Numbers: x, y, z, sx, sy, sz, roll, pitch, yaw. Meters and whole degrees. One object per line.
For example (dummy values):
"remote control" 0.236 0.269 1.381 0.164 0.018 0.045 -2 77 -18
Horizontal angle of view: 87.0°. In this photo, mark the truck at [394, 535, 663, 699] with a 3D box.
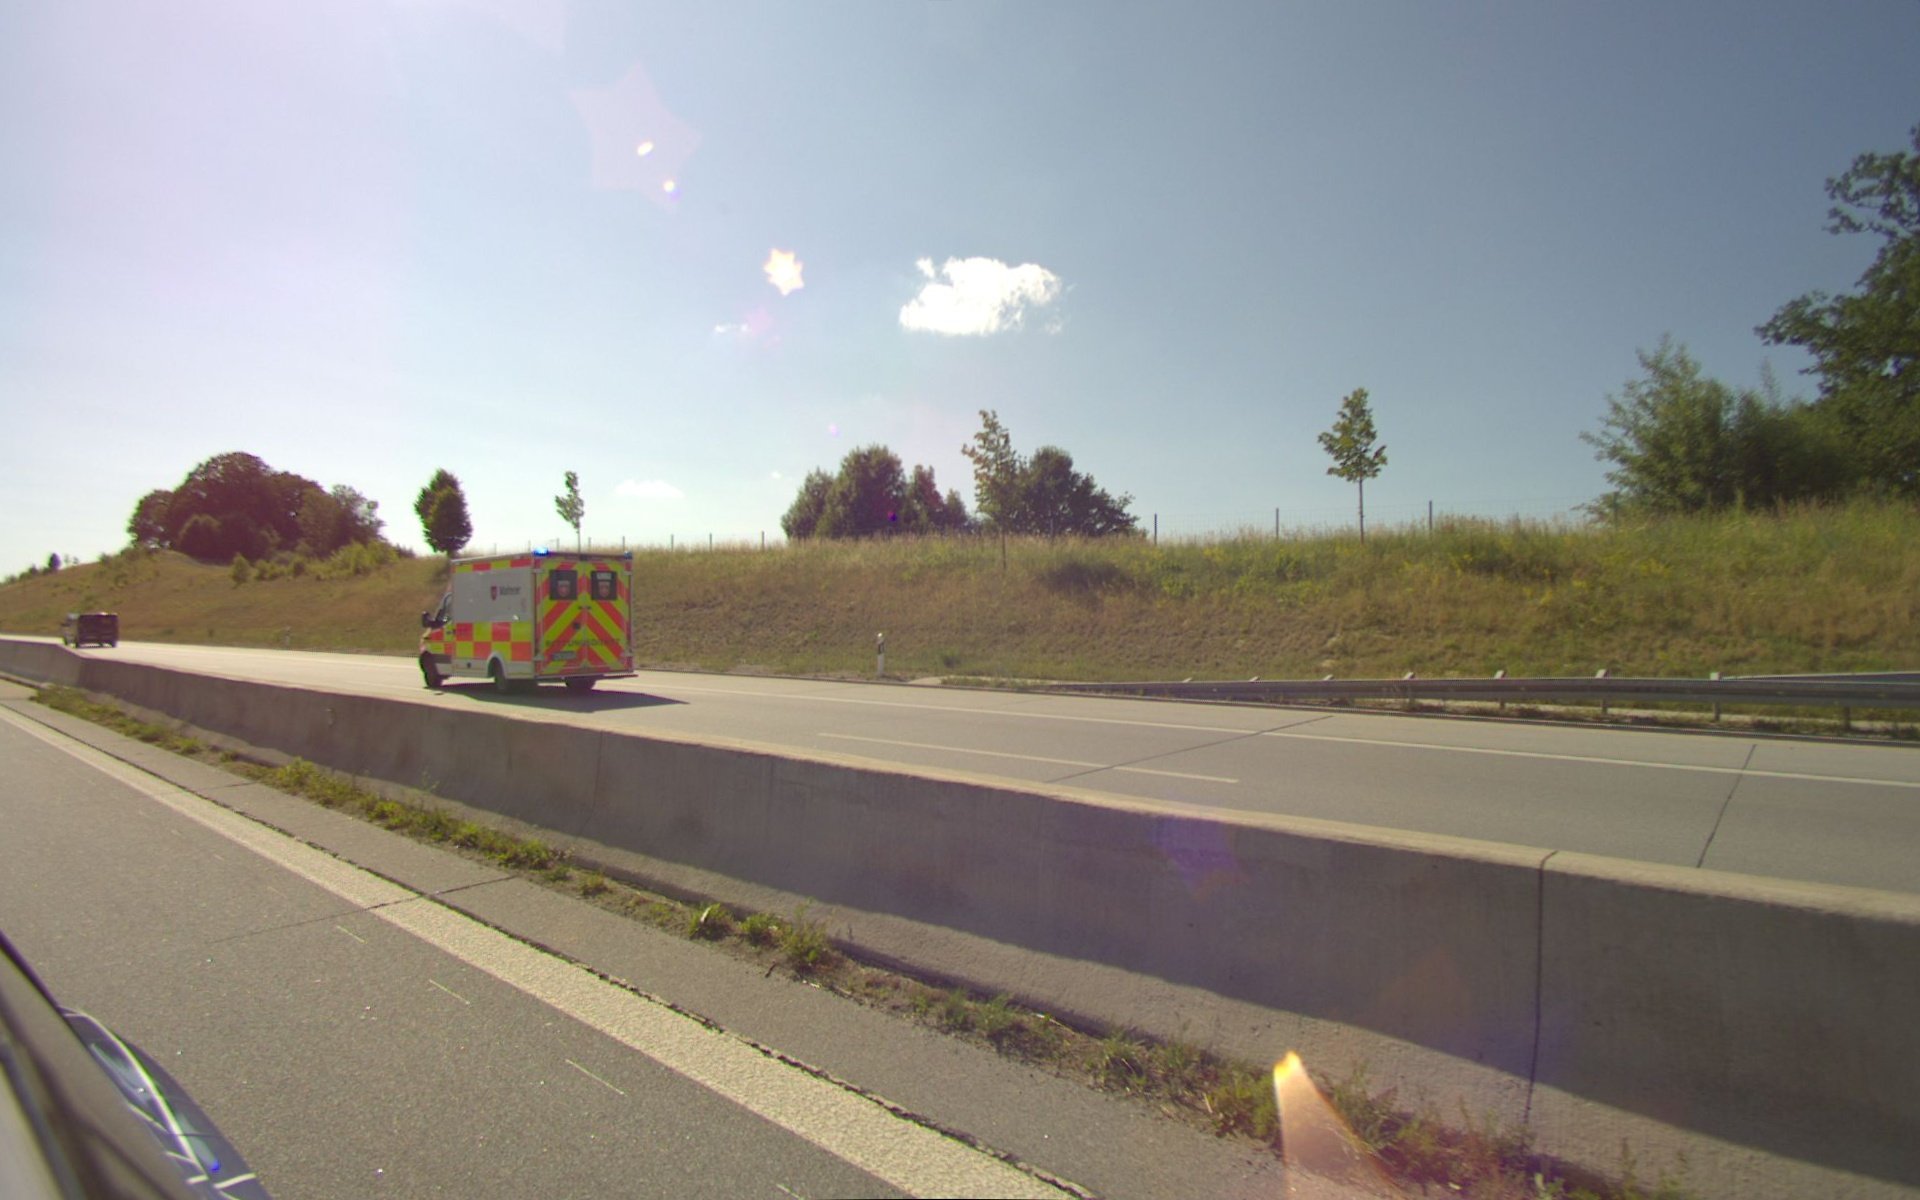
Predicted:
"truck" -9.568 0.385 22.073 6.788 3.044 2.745 -1 -1 41

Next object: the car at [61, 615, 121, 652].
"car" -50.687 1.916 59.022 4.967 2.029 1.973 -1 -1 41
